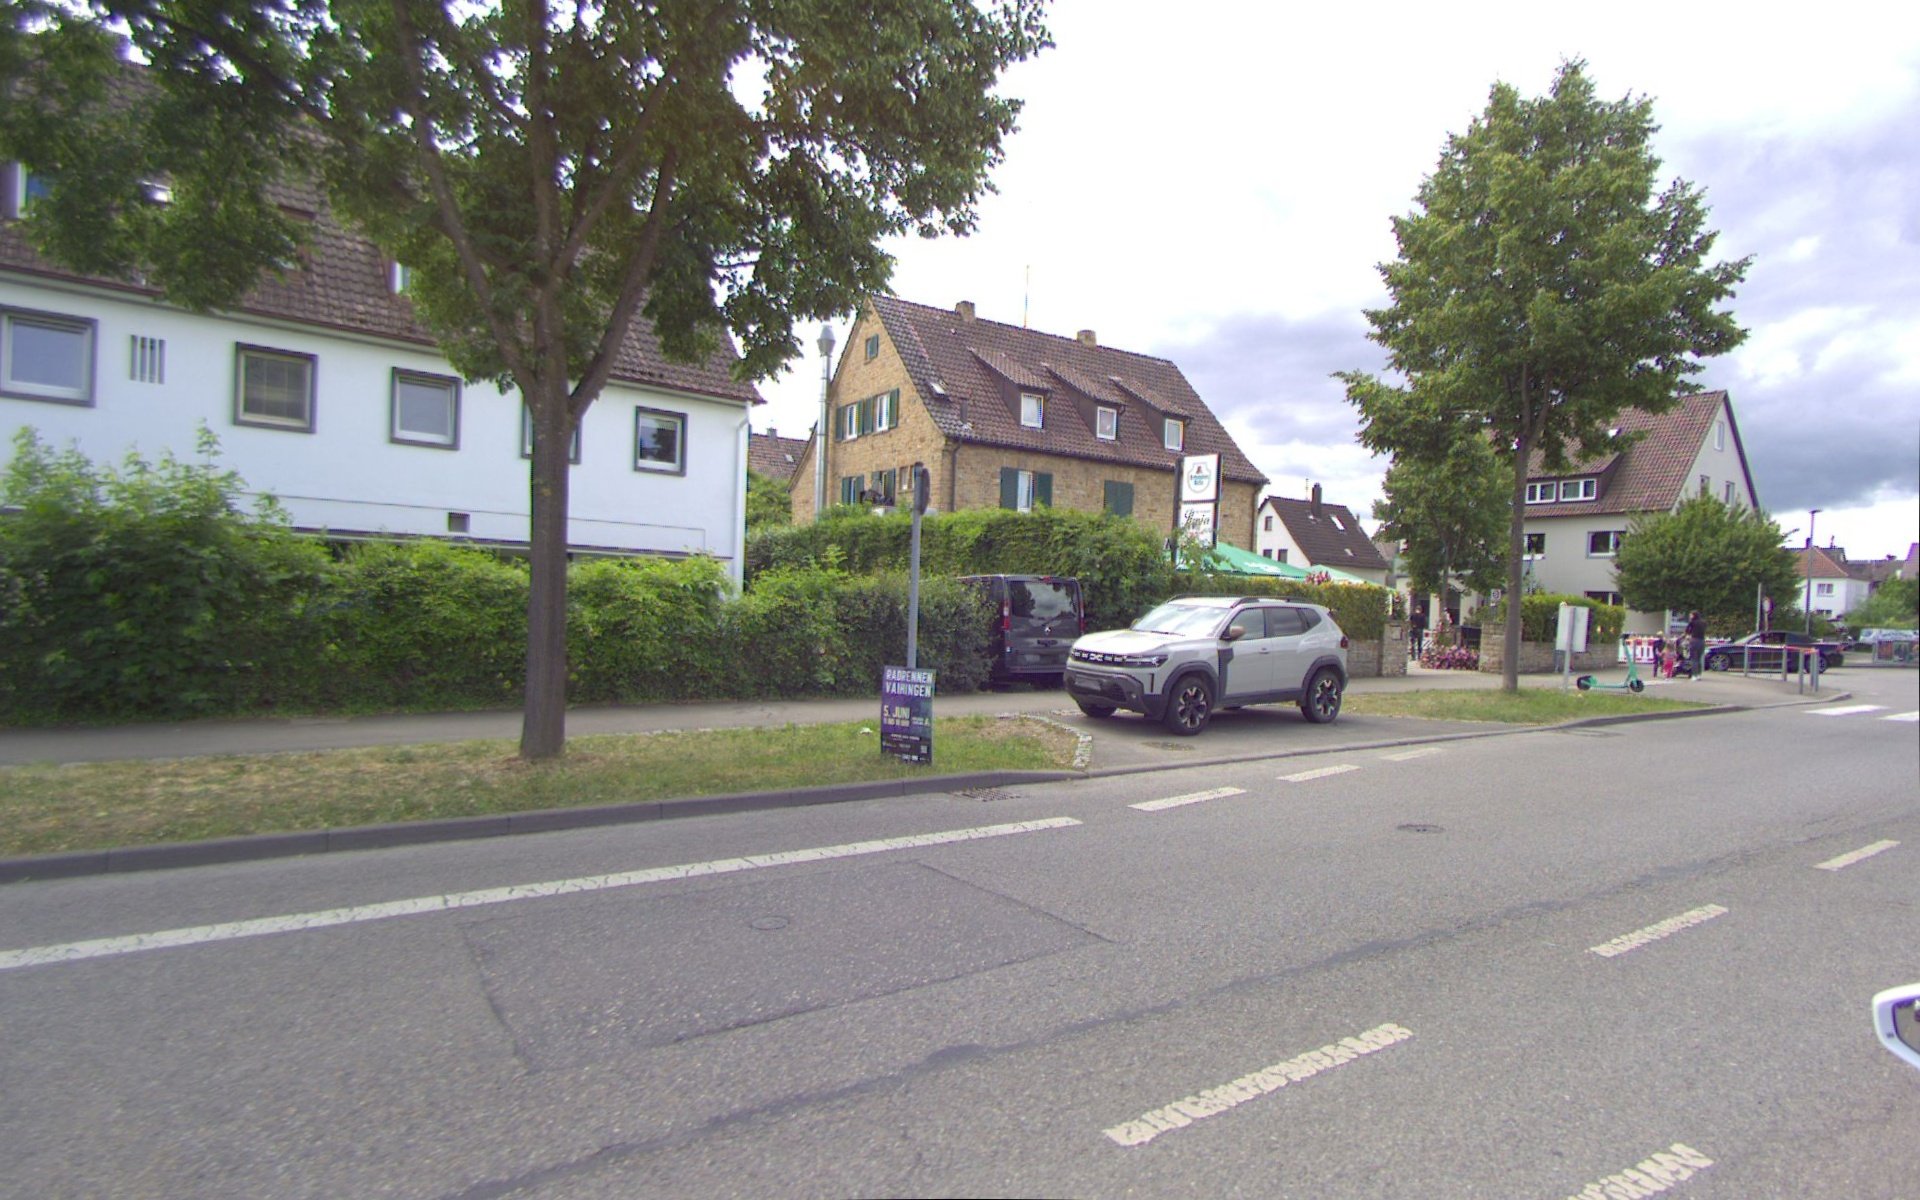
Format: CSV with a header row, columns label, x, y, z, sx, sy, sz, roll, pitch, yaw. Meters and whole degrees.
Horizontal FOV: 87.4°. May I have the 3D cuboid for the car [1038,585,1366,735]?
label,x,y,z,sx,sy,sz,roll,pitch,yaw
car,3.285,0.715,13.345,4.250,1.676,1.849,2,0,-34

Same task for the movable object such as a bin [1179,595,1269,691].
label,x,y,z,sx,sy,sz,roll,pitch,yaw
movable object such as a bin,4.937,0.780,18.791,0.988,1.673,1.197,2,2,-34

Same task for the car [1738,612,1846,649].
label,x,y,z,sx,sy,sz,roll,pitch,yaw
car,38.740,1.396,46.848,1.580,1.632,3.573,1,0,-28

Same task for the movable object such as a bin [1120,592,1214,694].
label,x,y,z,sx,sy,sz,roll,pitch,yaw
movable object such as a bin,3.641,0.741,17.727,0.988,1.673,1.197,2,2,-34

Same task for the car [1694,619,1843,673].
label,x,y,z,sx,sy,sz,roll,pitch,yaw
car,27.272,1.521,34.005,3.549,1.656,1.574,1,0,17

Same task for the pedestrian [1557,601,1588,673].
label,x,y,z,sx,sy,sz,roll,pitch,yaw
pedestrian,15.785,0.941,25.884,0.530,1.808,0.562,1,0,18

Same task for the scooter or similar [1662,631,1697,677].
label,x,y,z,sx,sy,sz,roll,pitch,yaw
scooter or similar,18.543,1.383,25.900,0.399,1.110,0.970,4,2,19

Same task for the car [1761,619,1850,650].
label,x,y,z,sx,sy,sz,roll,pitch,yaw
car,40.545,1.650,48.215,1.323,1.400,3.028,1,0,-28

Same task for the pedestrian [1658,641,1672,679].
label,x,y,z,sx,sy,sz,roll,pitch,yaw
pedestrian,17.256,1.466,24.576,0.234,0.906,0.259,0,0,25

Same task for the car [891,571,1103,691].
label,x,y,z,sx,sy,sz,roll,pitch,yaw
car,0.543,0.503,18.296,1.978,1.917,3.965,1,0,-32

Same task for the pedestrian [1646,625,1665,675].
label,x,y,z,sx,sy,sz,roll,pitch,yaw
pedestrian,18.028,1.297,26.034,0.336,1.261,0.354,1,0,25

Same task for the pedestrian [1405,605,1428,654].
label,x,y,z,sx,sy,sz,roll,pitch,yaw
pedestrian,14.616,0.934,32.135,0.639,1.560,0.509,1,0,25

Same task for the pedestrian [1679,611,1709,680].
label,x,y,z,sx,sy,sz,roll,pitch,yaw
pedestrian,18.365,1.117,25.147,0.474,1.692,0.515,1,0,24

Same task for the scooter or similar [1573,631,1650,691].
label,x,y,z,sx,sy,sz,roll,pitch,yaw
scooter or similar,13.314,1.236,20.556,1.264,1.154,0.347,1,0,27
